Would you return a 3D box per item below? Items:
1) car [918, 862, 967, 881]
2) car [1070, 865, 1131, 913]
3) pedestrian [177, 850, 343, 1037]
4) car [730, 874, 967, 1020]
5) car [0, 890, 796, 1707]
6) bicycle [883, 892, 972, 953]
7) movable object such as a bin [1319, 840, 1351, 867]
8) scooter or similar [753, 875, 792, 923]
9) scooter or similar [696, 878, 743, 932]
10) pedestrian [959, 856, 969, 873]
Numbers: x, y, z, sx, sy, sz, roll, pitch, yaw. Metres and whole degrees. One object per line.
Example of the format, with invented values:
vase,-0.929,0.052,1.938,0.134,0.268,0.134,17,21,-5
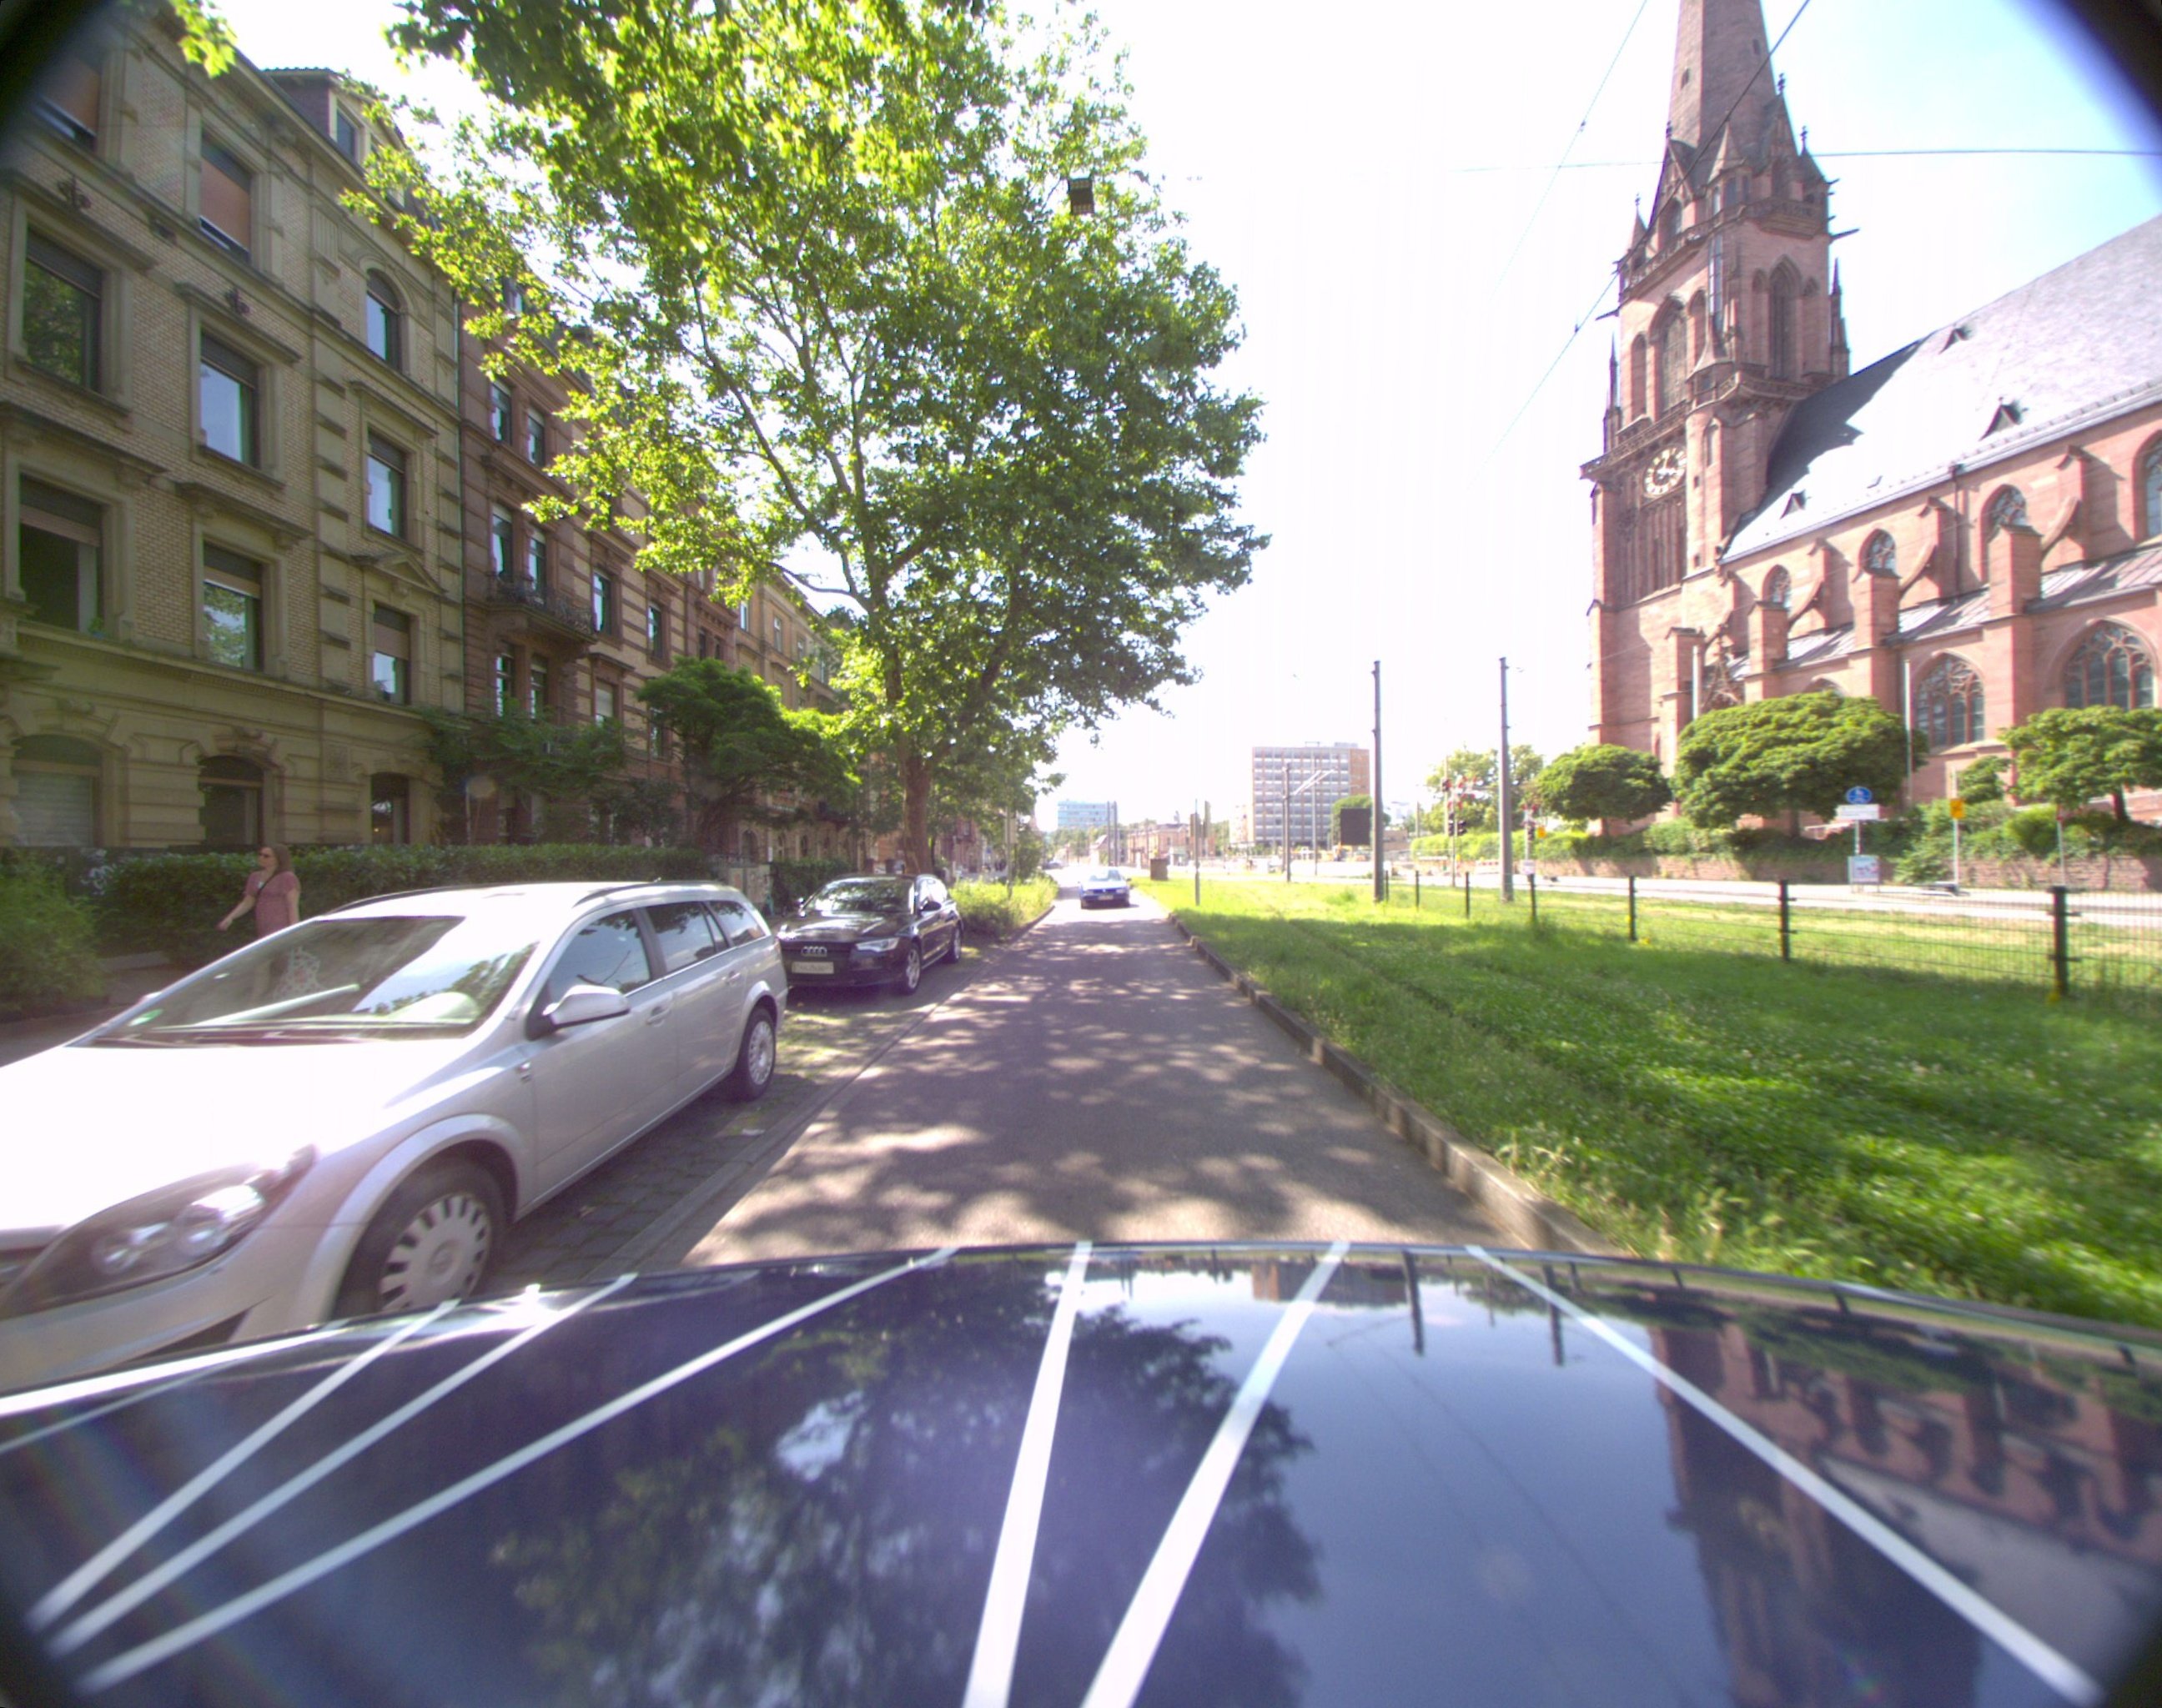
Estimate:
car,-11.792,1.475,65.006,4.093,1.507,1.886,0,0,-8
car,0.709,1.167,26.359,1.886,1.401,4.094,-3,0,3
pedestrian,-8.264,0.859,7.690,0.738,1.775,0.852,1,0,0
car,-2.909,1.081,10.687,1.838,1.499,4.643,0,0,1
car,-3.029,1.027,3.635,1.838,1.499,4.490,0,0,-3
bicycle,-2.972,1.309,14.780,1.641,1.082,0.471,-1,0,-33
movable object such as a bin,36.721,-0.054,109.755,3.341,3.858,2.932,0,0,-33
scooter or similar,-8.571,1.232,21.145,0.583,1.275,1.145,0,0,2
scooter or similar,-8.749,1.208,18.422,0.583,1.240,1.145,-1,0,1
pedestrian,-11.644,1.052,75.805,0.797,1.708,0.967,-1,0,0
